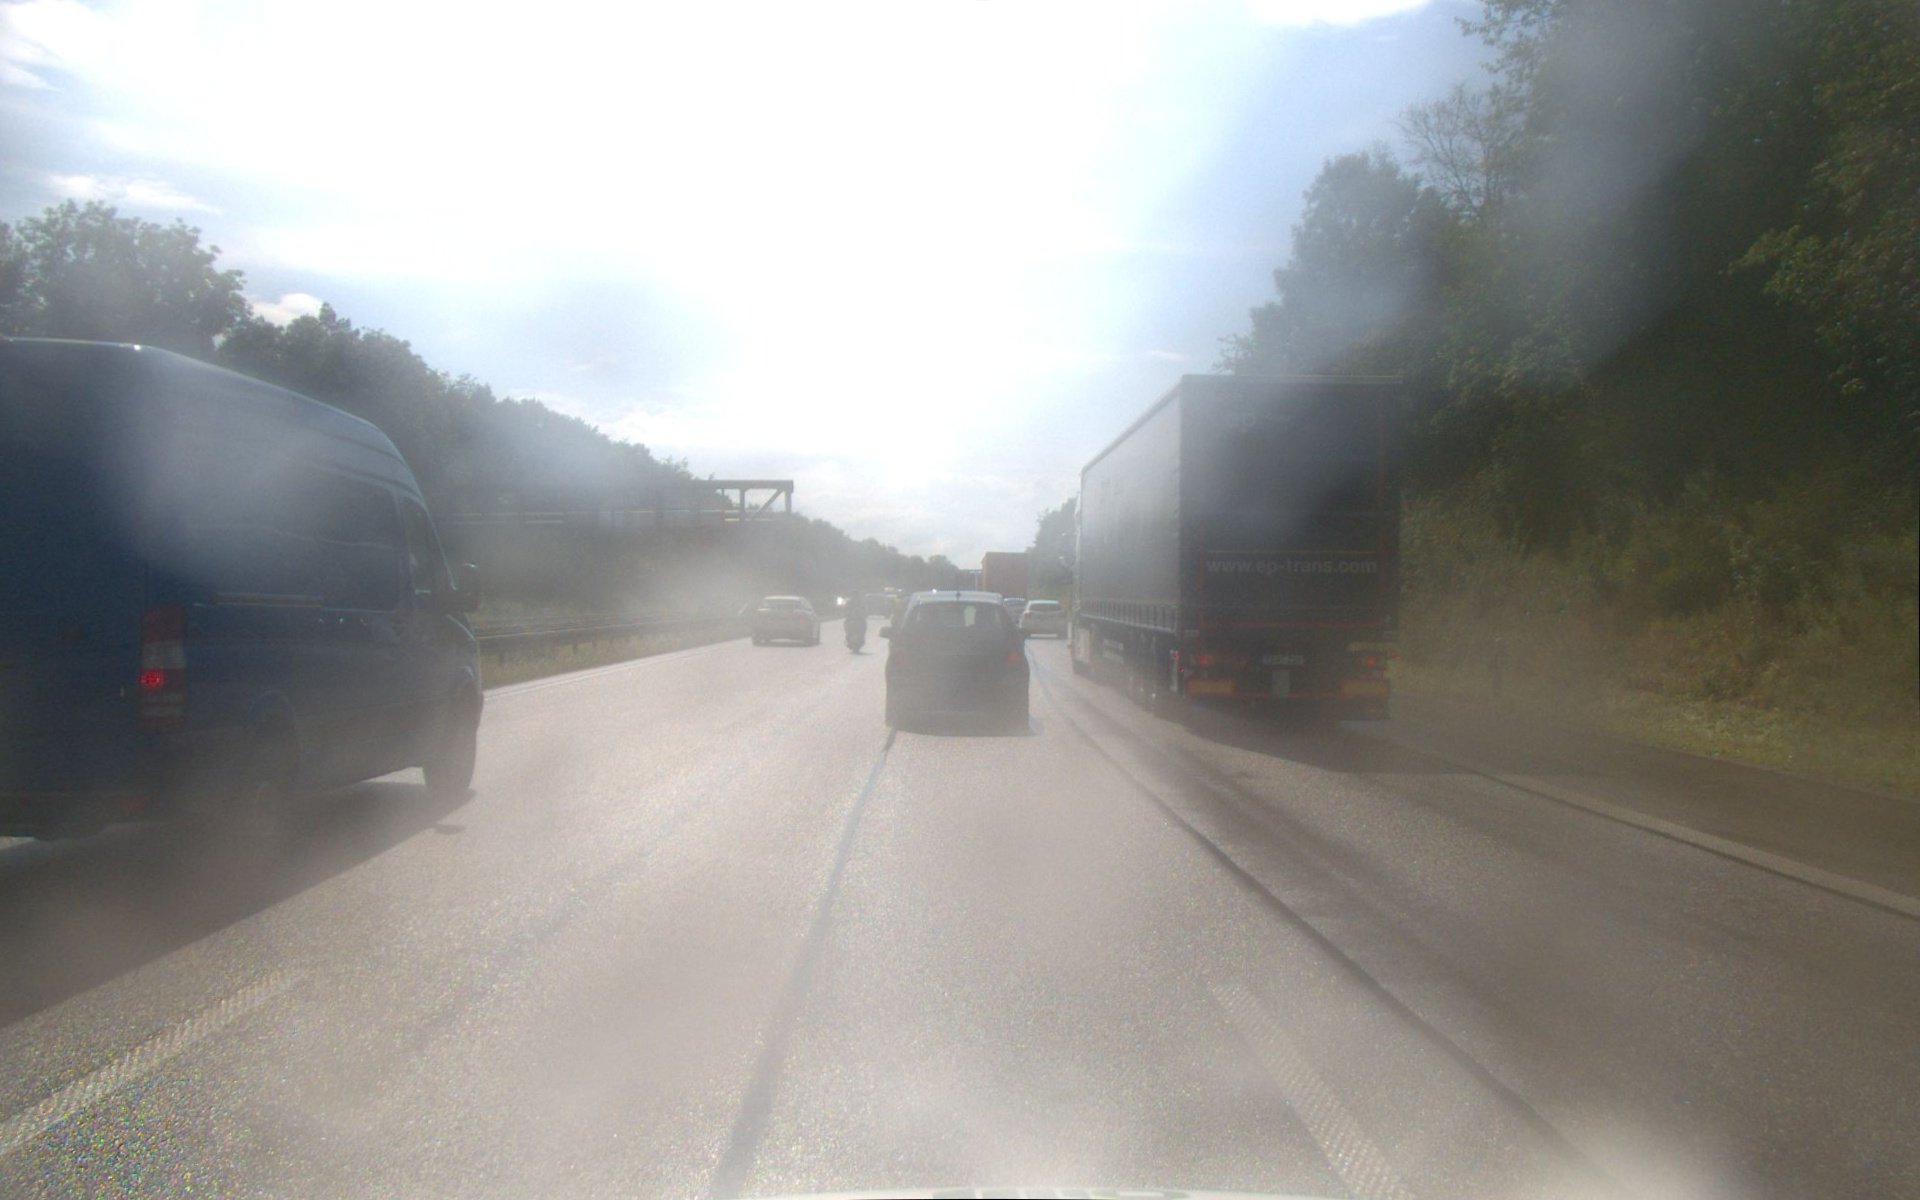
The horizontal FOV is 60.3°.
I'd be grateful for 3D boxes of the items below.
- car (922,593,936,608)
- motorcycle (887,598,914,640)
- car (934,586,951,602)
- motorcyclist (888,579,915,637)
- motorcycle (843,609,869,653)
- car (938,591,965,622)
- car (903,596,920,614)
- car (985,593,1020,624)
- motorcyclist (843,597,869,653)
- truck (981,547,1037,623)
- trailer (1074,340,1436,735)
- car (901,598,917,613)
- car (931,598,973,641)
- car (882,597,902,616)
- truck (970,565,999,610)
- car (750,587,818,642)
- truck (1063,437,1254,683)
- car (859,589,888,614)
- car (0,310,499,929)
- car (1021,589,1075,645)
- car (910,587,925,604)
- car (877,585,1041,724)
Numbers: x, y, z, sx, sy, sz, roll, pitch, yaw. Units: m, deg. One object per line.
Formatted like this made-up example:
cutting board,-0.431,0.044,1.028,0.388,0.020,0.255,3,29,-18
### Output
car,-4.386,0.122,232.921,1.953,2.049,3.999,1,0,-1
motorcycle,-1.876,0.592,52.114,0.803,1.285,2.116,1,0,-3
car,-1.699,-0.594,162.145,1.599,1.516,3.436,0,0,-1
motorcyclist,-1.856,0.243,52.032,0.805,1.791,1.389,1,0,-3
motorcycle,-2.790,0.816,44.268,0.662,1.106,1.980,1,0,-4
car,-0.541,0.402,105.255,1.641,1.970,3.772,0,0,-1
car,-5.710,0.582,193.619,1.953,2.049,3.999,1,0,-1
car,2.169,0.427,85.360,1.641,1.516,3.436,0,0,-1
motorcyclist,-2.787,0.670,44.201,0.657,1.467,1.019,1,0,-4
truck,2.992,-0.899,103.205,3.137,4.481,9.431,1,0,0
trailer,3.790,-0.709,25.553,3.025,4.388,14.104,0,0,0
car,-5.228,0.593,169.303,1.641,1.516,3.436,0,0,-1
car,-0.412,0.947,81.299,1.953,2.049,3.999,1,0,-2
car,-5.861,0.518,143.056,1.641,1.625,3.436,0,0,-1
truck,2.651,-1.316,182.345,2.823,4.769,12.655,1,0,-1
car,-5.432,0.424,51.419,1.723,1.622,4.329,0,0,-1
truck,3.760,-0.729,32.730,2.990,4.400,5.885,1,0,-1
car,-5.915,0.111,113.028,1.854,1.656,4.194,0,0,-1
car,-4.565,0.077,10.082,1.975,2.695,5.775,0,0,-1
car,3.363,0.642,63.856,1.811,2.049,4.086,1,0,0
car,-5.371,-0.549,209.177,1.953,2.049,3.999,1,0,-1
car,-0.054,0.626,21.200,1.876,1.592,4.313,0,0,-1
